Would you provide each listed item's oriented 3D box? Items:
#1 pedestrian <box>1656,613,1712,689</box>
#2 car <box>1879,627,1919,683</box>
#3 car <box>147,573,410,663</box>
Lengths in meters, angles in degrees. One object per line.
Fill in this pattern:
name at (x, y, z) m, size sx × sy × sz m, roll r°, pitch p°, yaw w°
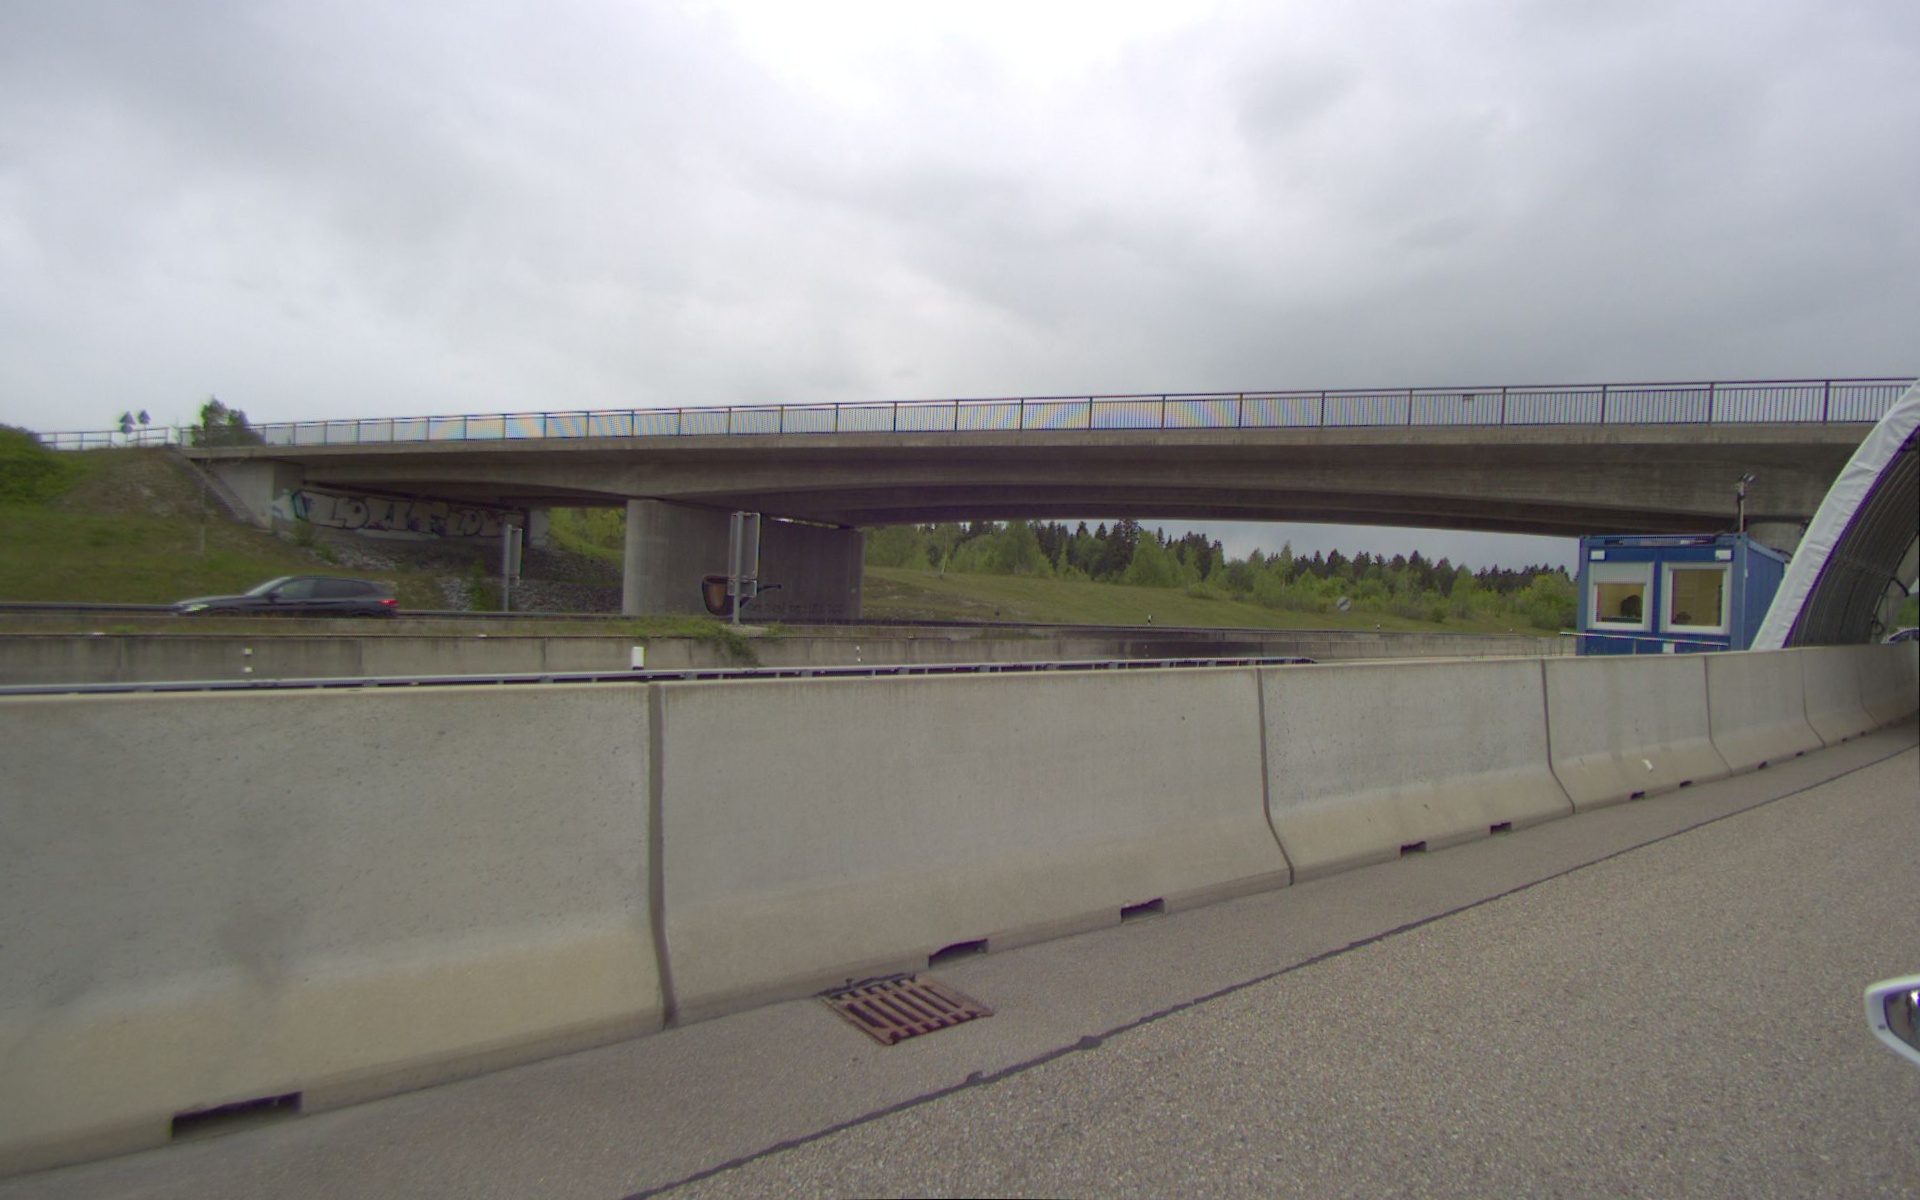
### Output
pedestrian at (13.626, 0.954, 18.920) m, size 0.618 × 1.391 × 0.609 m, roll 2°, pitch -1°, yaw -21°
car at (36.700, 2.050, 36.342) m, size 1.814 × 2.040 × 4.797 m, roll 2°, pitch -1°, yaw -22°
car at (-16.688, 0.480, 24.821) m, size 1.964 × 1.981 × 5.079 m, roll 0°, pitch -2°, yaw 44°
